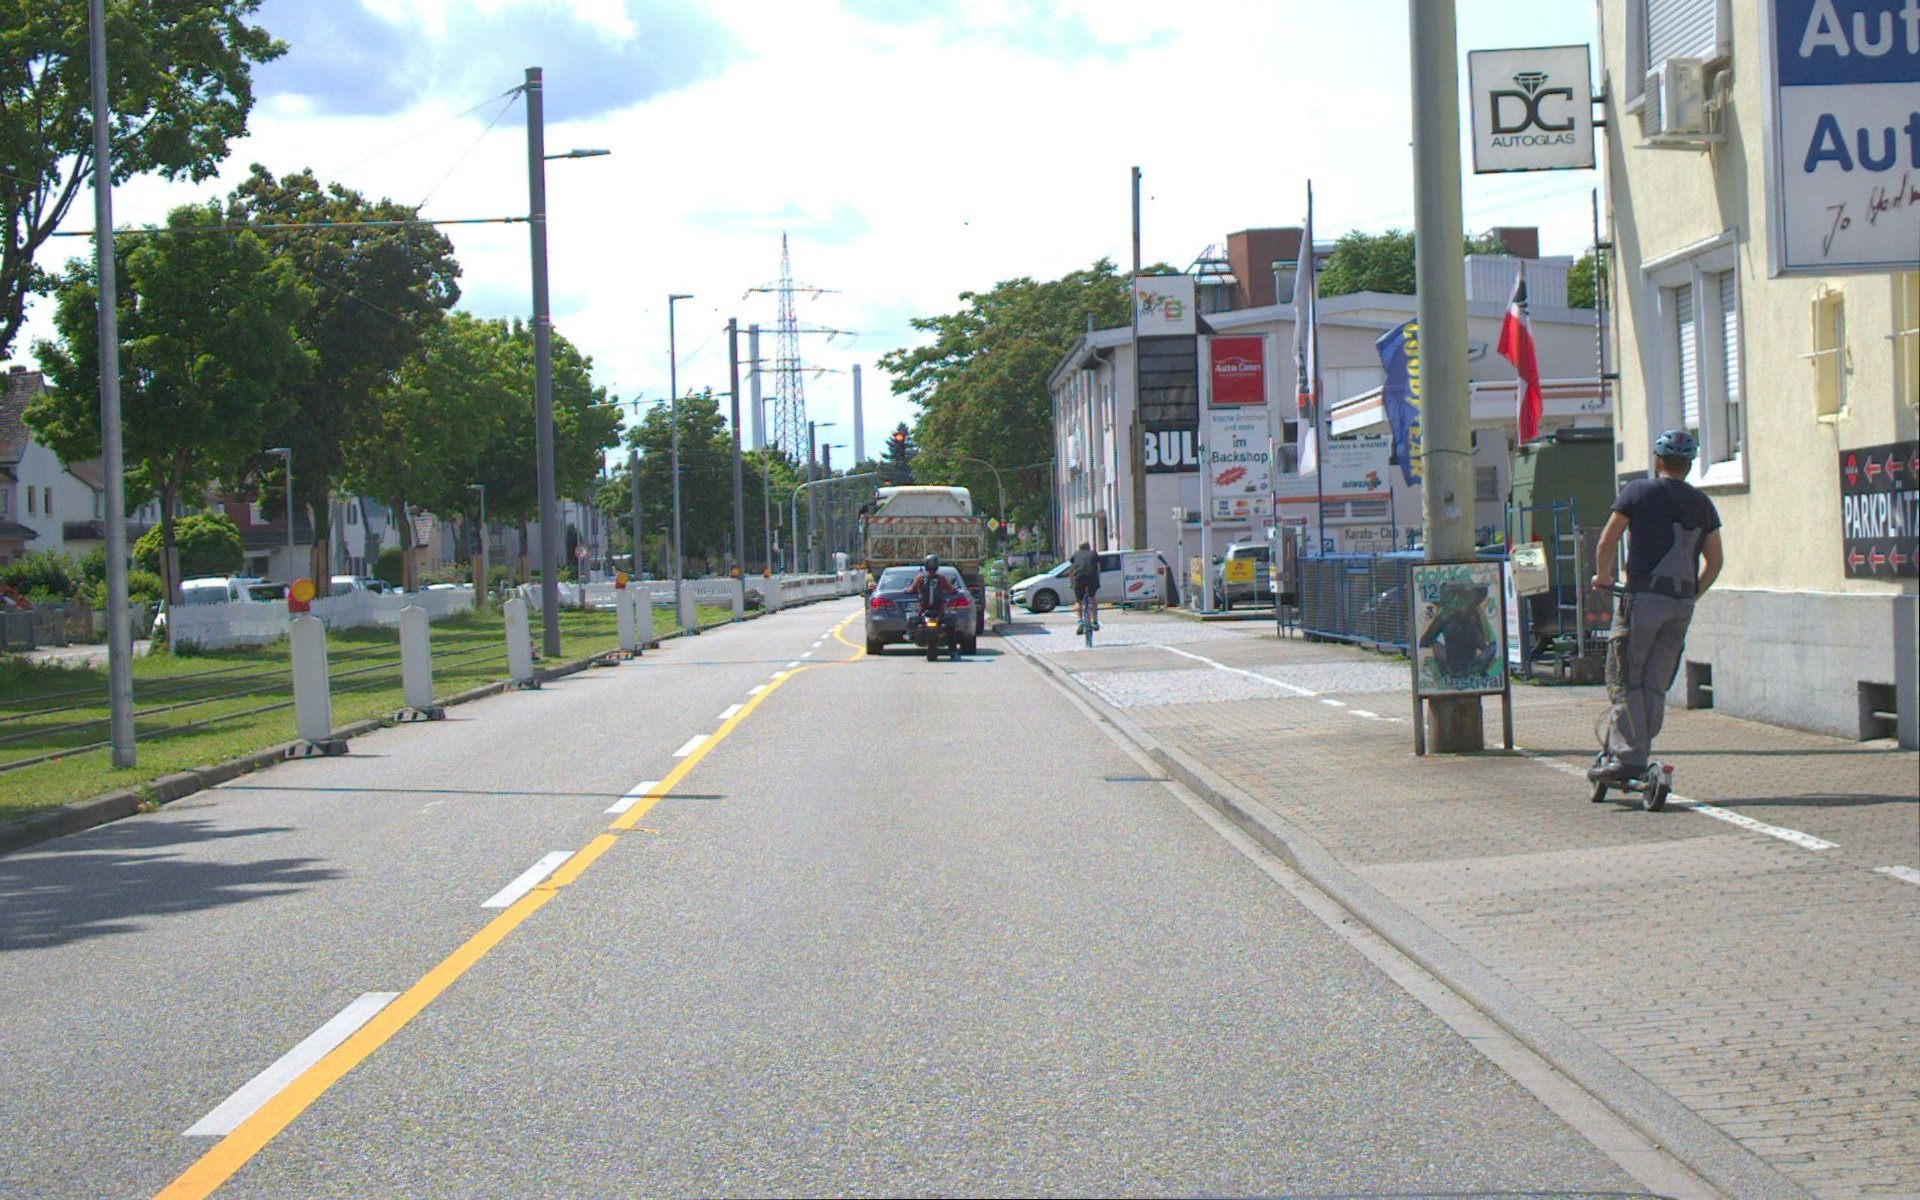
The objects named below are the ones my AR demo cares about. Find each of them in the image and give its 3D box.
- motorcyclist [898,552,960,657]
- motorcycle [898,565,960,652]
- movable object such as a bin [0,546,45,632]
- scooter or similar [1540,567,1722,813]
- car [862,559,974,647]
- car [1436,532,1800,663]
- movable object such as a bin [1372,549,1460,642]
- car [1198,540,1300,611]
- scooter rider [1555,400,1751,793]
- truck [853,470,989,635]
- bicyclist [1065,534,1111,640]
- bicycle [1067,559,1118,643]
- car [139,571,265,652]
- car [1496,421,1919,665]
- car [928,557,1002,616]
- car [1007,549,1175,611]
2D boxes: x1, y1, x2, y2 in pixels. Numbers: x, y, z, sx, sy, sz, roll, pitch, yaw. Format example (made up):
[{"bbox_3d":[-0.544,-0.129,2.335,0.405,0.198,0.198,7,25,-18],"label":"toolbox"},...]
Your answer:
[{"bbox_3d":[-0.482,0.072,53.610,0.939,1.609,1.205,1,0,0],"label":"motorcyclist"},{"bbox_3d":[-0.487,0.119,53.792,0.939,1.316,2.645,1,0,0],"label":"motorcycle"},{"bbox_3d":[-28.708,-0.264,98.949,4.335,2.441,1.789,-2,1,-22],"label":"movable object such as a bin"},{"bbox_3d":[3.469,0.447,17.869,0.540,1.191,1.611,-3,0,-1],"label":"scooter or similar"},{"bbox_3d":[-0.701,0.026,58.265,1.821,1.419,4.000,-1,1,0],"label":"car"},{"bbox_3d":[7.955,-0.032,41.882,4.184,1.426,1.820,-2,0,7],"label":"car"},{"bbox_3d":[7.373,-0.072,55.586,1.256,1.439,0.824,-2,0,0],"label":"movable object such as a bin"},{"bbox_3d":[7.120,-0.588,85.057,1.959,1.643,4.000,-2,0,-2],"label":"car"},{"bbox_3d":[3.607,-0.027,17.953,0.717,1.956,0.785,-5,1,1],"label":"scooter rider"},{"bbox_3d":[-0.781,-1.094,74.310,2.610,3.244,9.182,-2,2,0],"label":"truck"},{"bbox_3d":[2.134,-0.213,57.414,0.671,1.738,0.813,-2,0,-1],"label":"bicyclist"},{"bbox_3d":[2.204,-0.002,57.417,0.693,1.357,2.418,-2,1,-1],"label":"bicycle"},{"bbox_3d":[-17.486,0.249,79.481,1.993,1.744,4.000,-2,0,0],"label":"car"},{"bbox_3d":[8.545,-0.637,39.073,4.537,2.564,2.151,-2,0,1],"label":"car"},{"bbox_3d":[0.134,-0.359,87.461,1.821,1.459,4.000,-1,1,0],"label":"car"},{"bbox_3d":[3.642,-0.553,95.734,4.329,1.546,1.950,-2,0,-8],"label":"car"}]
